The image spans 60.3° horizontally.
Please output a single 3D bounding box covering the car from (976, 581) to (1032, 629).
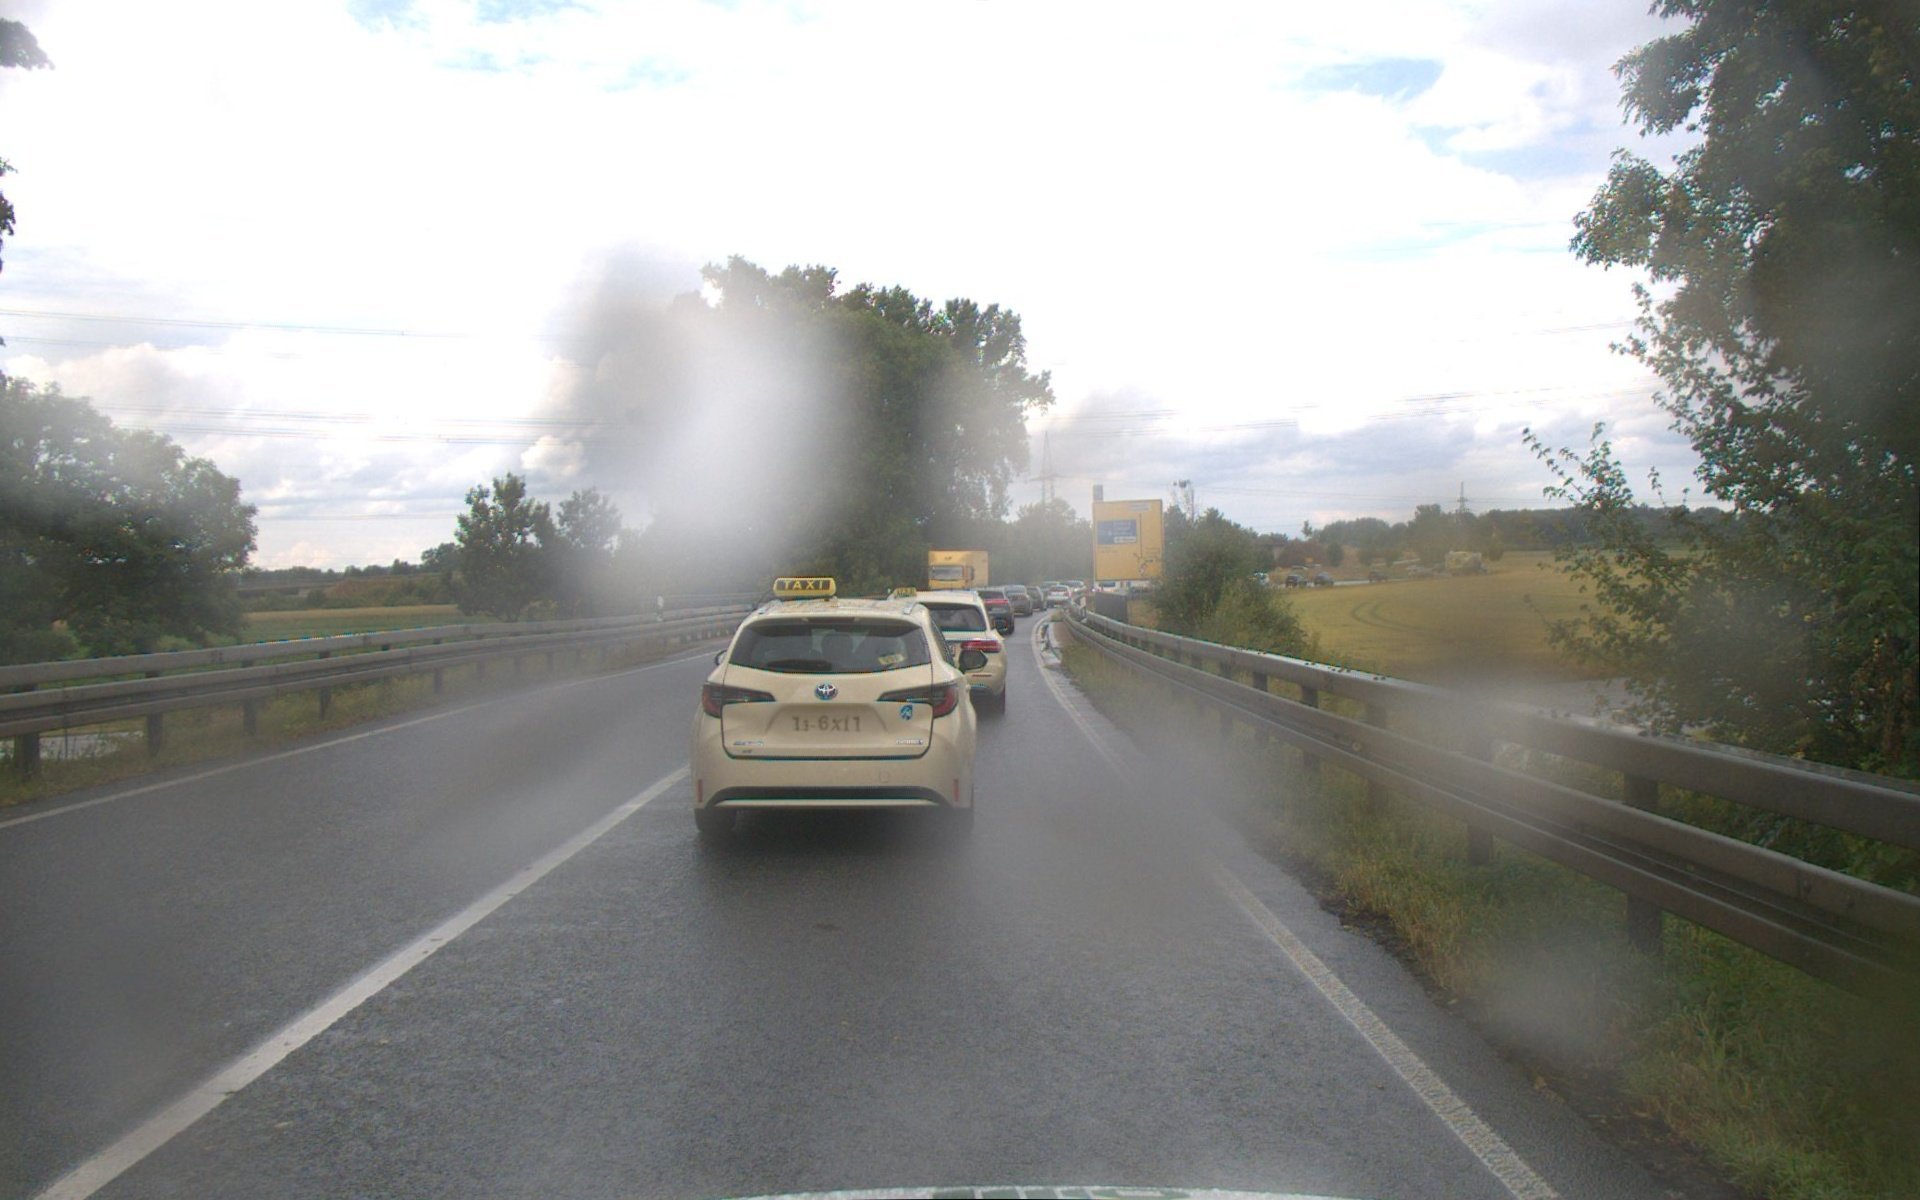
[{"bbox_3d":[1.404,0.156,53.657,1.631,1.489,3.476,0,0,-2],"label":"car"}]

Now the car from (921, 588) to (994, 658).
[{"bbox_3d":[-0.021,0.489,37.033,1.474,1.462,3.357,1,0,3],"label":"car"}]

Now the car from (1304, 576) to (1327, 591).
[{"bbox_3d":[50.337,-2.376,234.081,1.956,2.049,3.992,0,0,30],"label":"car"}]

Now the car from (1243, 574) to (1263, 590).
[{"bbox_3d":[37.138,-2.254,209.386,1.880,1.870,4.001,0,0,19],"label":"car"}]

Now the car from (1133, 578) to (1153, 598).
[{"bbox_3d":[17.678,-1.163,159.372,1.695,1.851,4.003,0,0,9],"label":"car"}]

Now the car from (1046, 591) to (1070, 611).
[{"bbox_3d":[6.748,0.081,113.752,1.451,1.332,3.479,0,0,7],"label":"car"}]

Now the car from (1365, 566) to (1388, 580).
[{"bbox_3d":[63.651,-4.126,252.717,2.104,2.049,3.987,0,0,34],"label":"car"}]

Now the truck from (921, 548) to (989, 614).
[{"bbox_3d":[-0.209,-1.152,94.138,2.712,3.488,9.195,2,2,6],"label":"truck"}]

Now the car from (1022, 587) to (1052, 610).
[{"bbox_3d":[4.473,-0.078,96.232,1.451,1.332,3.479,0,0,7],"label":"car"}]

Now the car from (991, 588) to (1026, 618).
[{"bbox_3d":[2.394,0.160,81.015,1.625,1.434,3.905,0,-1,3],"label":"car"}]

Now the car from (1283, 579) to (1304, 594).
[{"bbox_3d":[45.344,-1.828,224.741,1.783,1.870,3.984,0,0,26],"label":"car"}]

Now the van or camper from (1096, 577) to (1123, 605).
[{"bbox_3d":[12.721,-0.747,140.236,1.951,2.293,4.003,0,0,10],"label":"van or camper"}]

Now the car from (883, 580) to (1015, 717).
[{"bbox_3d":[-0.125,0.567,21.214,1.546,1.600,3.681,0,0,0],"label":"car"}]

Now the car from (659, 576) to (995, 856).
[{"bbox_3d":[-0.767,0.644,11.327,1.867,1.564,4.161,0,0,-1],"label":"car"}]
